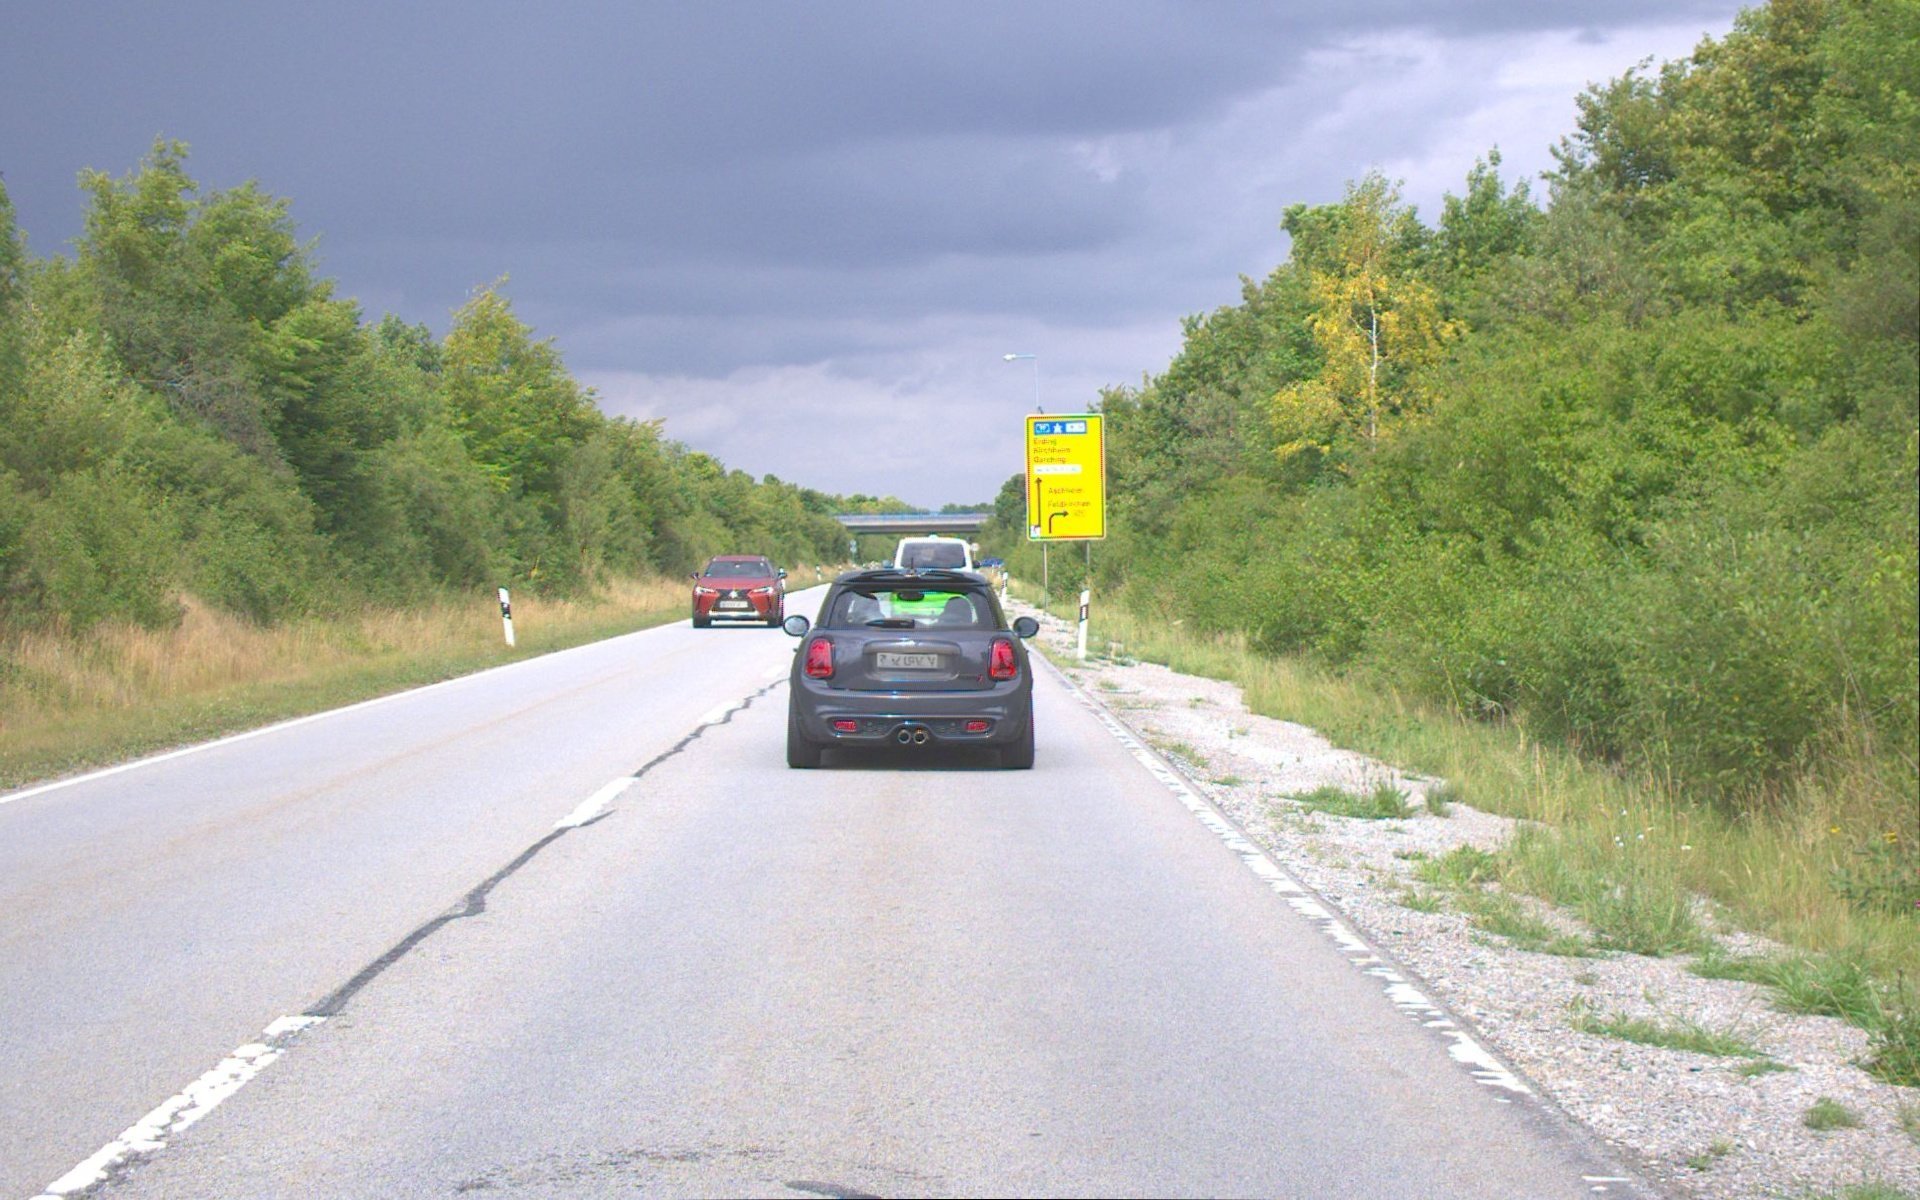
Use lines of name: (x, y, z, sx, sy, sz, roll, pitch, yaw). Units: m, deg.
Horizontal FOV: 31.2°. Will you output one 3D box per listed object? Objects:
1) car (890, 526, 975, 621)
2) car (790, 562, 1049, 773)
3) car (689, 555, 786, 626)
car: (-0.619, -0.587, 77.070, 1.819, 2.047, 4.000, 1, 0, -1)
car: (-0.302, 0.446, 25.527, 1.756, 1.422, 4.000, 1, 0, -1)
car: (-4.705, -0.228, 73.113, 1.829, 1.460, 4.411, 0, 1, -1)
